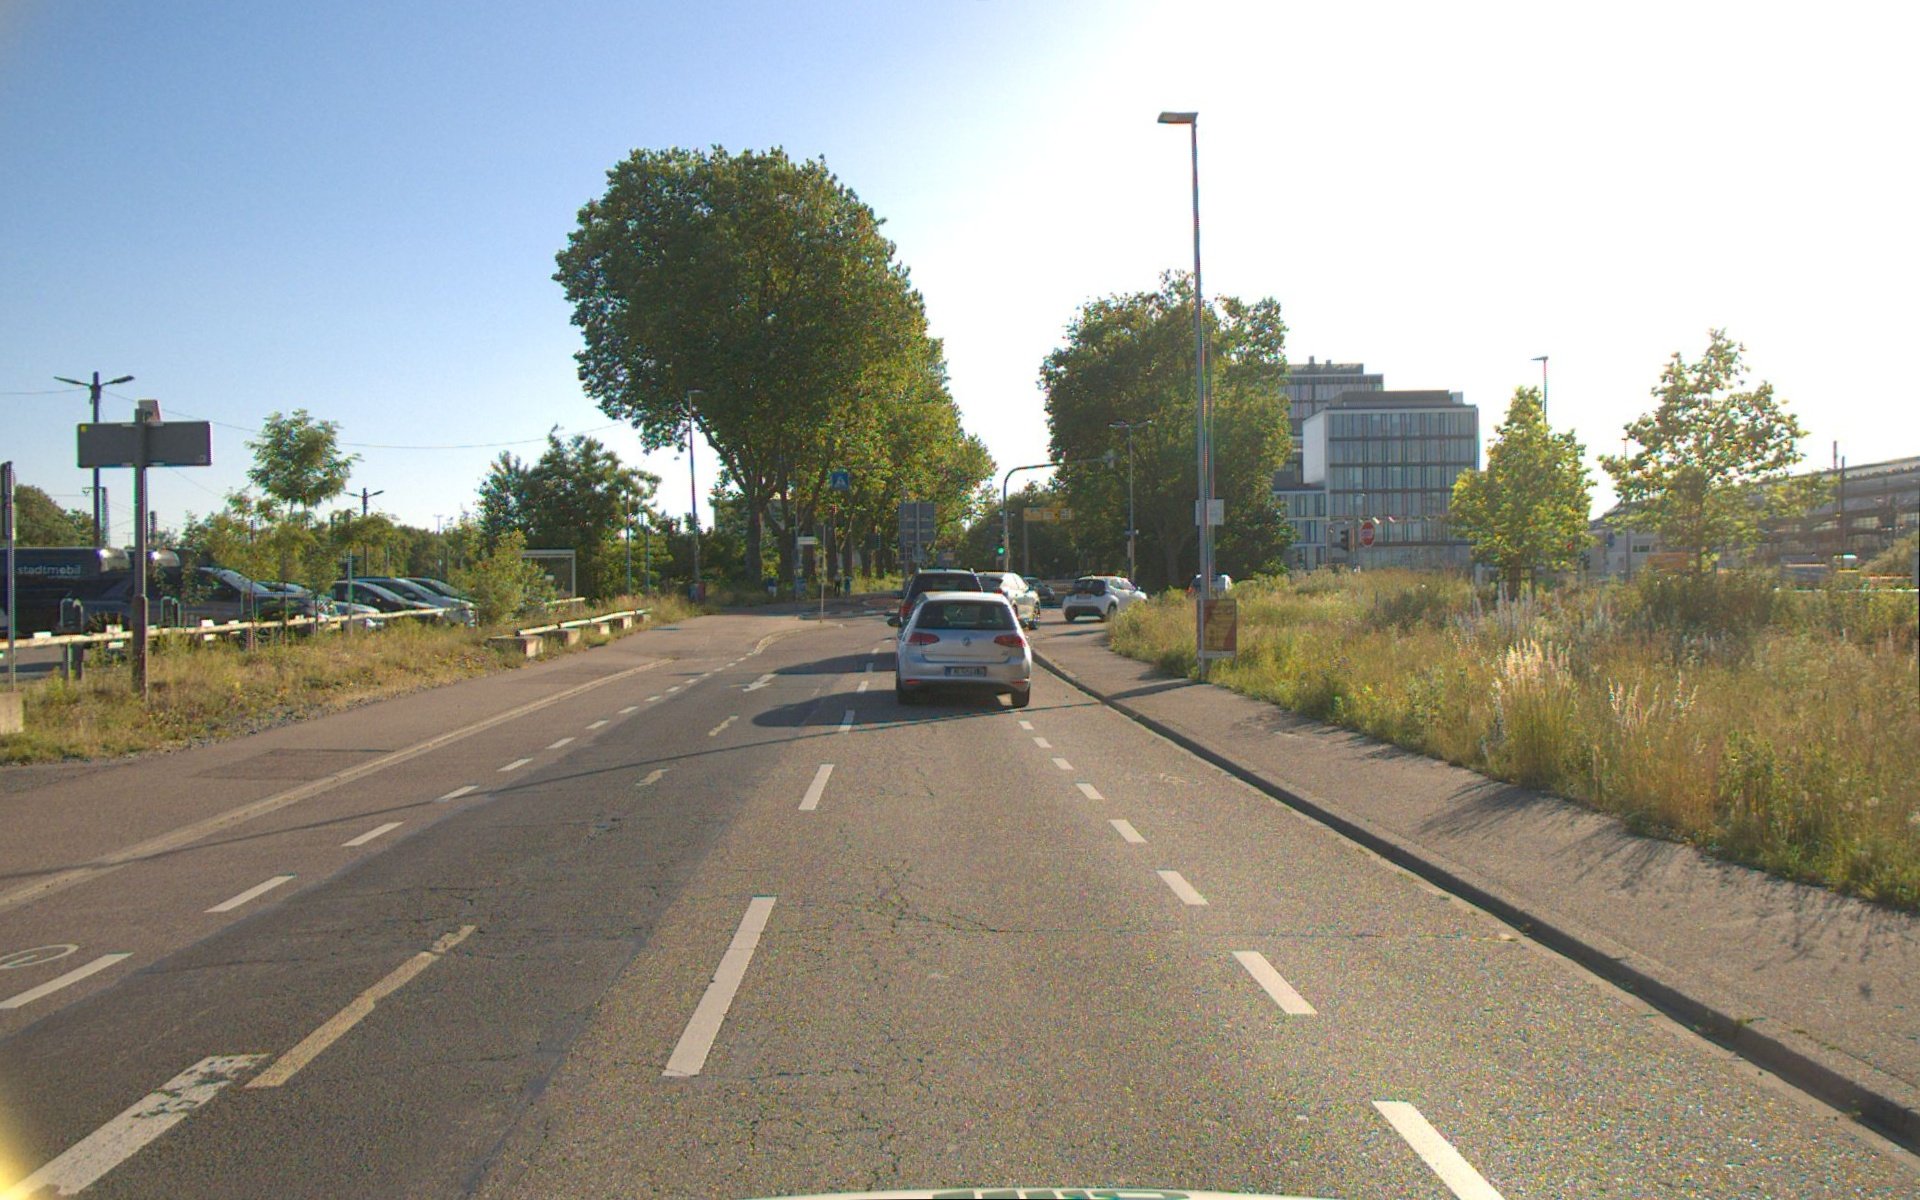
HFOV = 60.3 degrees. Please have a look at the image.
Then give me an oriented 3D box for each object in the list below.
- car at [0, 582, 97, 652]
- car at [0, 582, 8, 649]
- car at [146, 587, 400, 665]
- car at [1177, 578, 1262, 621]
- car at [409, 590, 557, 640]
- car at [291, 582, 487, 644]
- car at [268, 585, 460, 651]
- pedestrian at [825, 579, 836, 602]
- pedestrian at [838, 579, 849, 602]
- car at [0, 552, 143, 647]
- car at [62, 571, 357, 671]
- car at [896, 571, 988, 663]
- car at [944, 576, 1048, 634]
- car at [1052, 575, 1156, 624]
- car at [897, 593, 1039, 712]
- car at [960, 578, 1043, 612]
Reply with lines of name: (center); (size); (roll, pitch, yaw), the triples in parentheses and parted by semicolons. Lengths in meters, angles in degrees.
car: (-24.979, 0.415, 42.114); (4.828, 1.734, 2.165); (0, 0, -3)
car: (-25.420, 0.383, 39.614); (4.123, 1.646, 1.877); (0, 0, -3)
car: (-14.371, 0.533, 34.816); (4.503, 1.585, 1.999); (0, 0, -3)
car: (10.678, -0.050, 67.978); (2.124, 1.713, 3.991); (0, 0, 31)
car: (-15.609, 0.485, 54.289); (4.337, 1.585, 1.877); (0, 0, -3)
car: (-14.800, 0.327, 43.025); (4.451, 1.585, 1.877); (0, 0, -3)
car: (-14.444, 0.422, 40.233); (4.007, 1.585, 1.877); (0, 0, -3)
pedestrian: (-8.348, -0.624, 106.306); (0.665, 1.439, 0.684); (0, 0, -2)
pedestrian: (-7.493, -0.623, 106.275); (0.665, 1.439, 0.684); (0, 0, -2)
car: (-25.041, -0.019, 44.646); (4.828, 2.502, 2.318); (0, 0, -3)
car: (-14.340, 0.384, 31.821); (4.749, 1.867, 1.999); (0, 0, -3)
car: (-0.391, 0.310, 34.467); (1.782, 1.799, 4.628); (0, 0, -1)
car: (1.078, 0.124, 46.945); (1.873, 1.556, 4.410); (0, 0, 16)
car: (4.958, -0.021, 56.547); (1.865, 1.624, 3.987); (0, 0, 34)
car: (0.033, 0.643, 22.400); (1.754, 1.445, 3.999); (0, 0, -2)
car: (1.987, -0.255, 80.607); (1.981, 1.624, 3.943); (0, 1, -39)
